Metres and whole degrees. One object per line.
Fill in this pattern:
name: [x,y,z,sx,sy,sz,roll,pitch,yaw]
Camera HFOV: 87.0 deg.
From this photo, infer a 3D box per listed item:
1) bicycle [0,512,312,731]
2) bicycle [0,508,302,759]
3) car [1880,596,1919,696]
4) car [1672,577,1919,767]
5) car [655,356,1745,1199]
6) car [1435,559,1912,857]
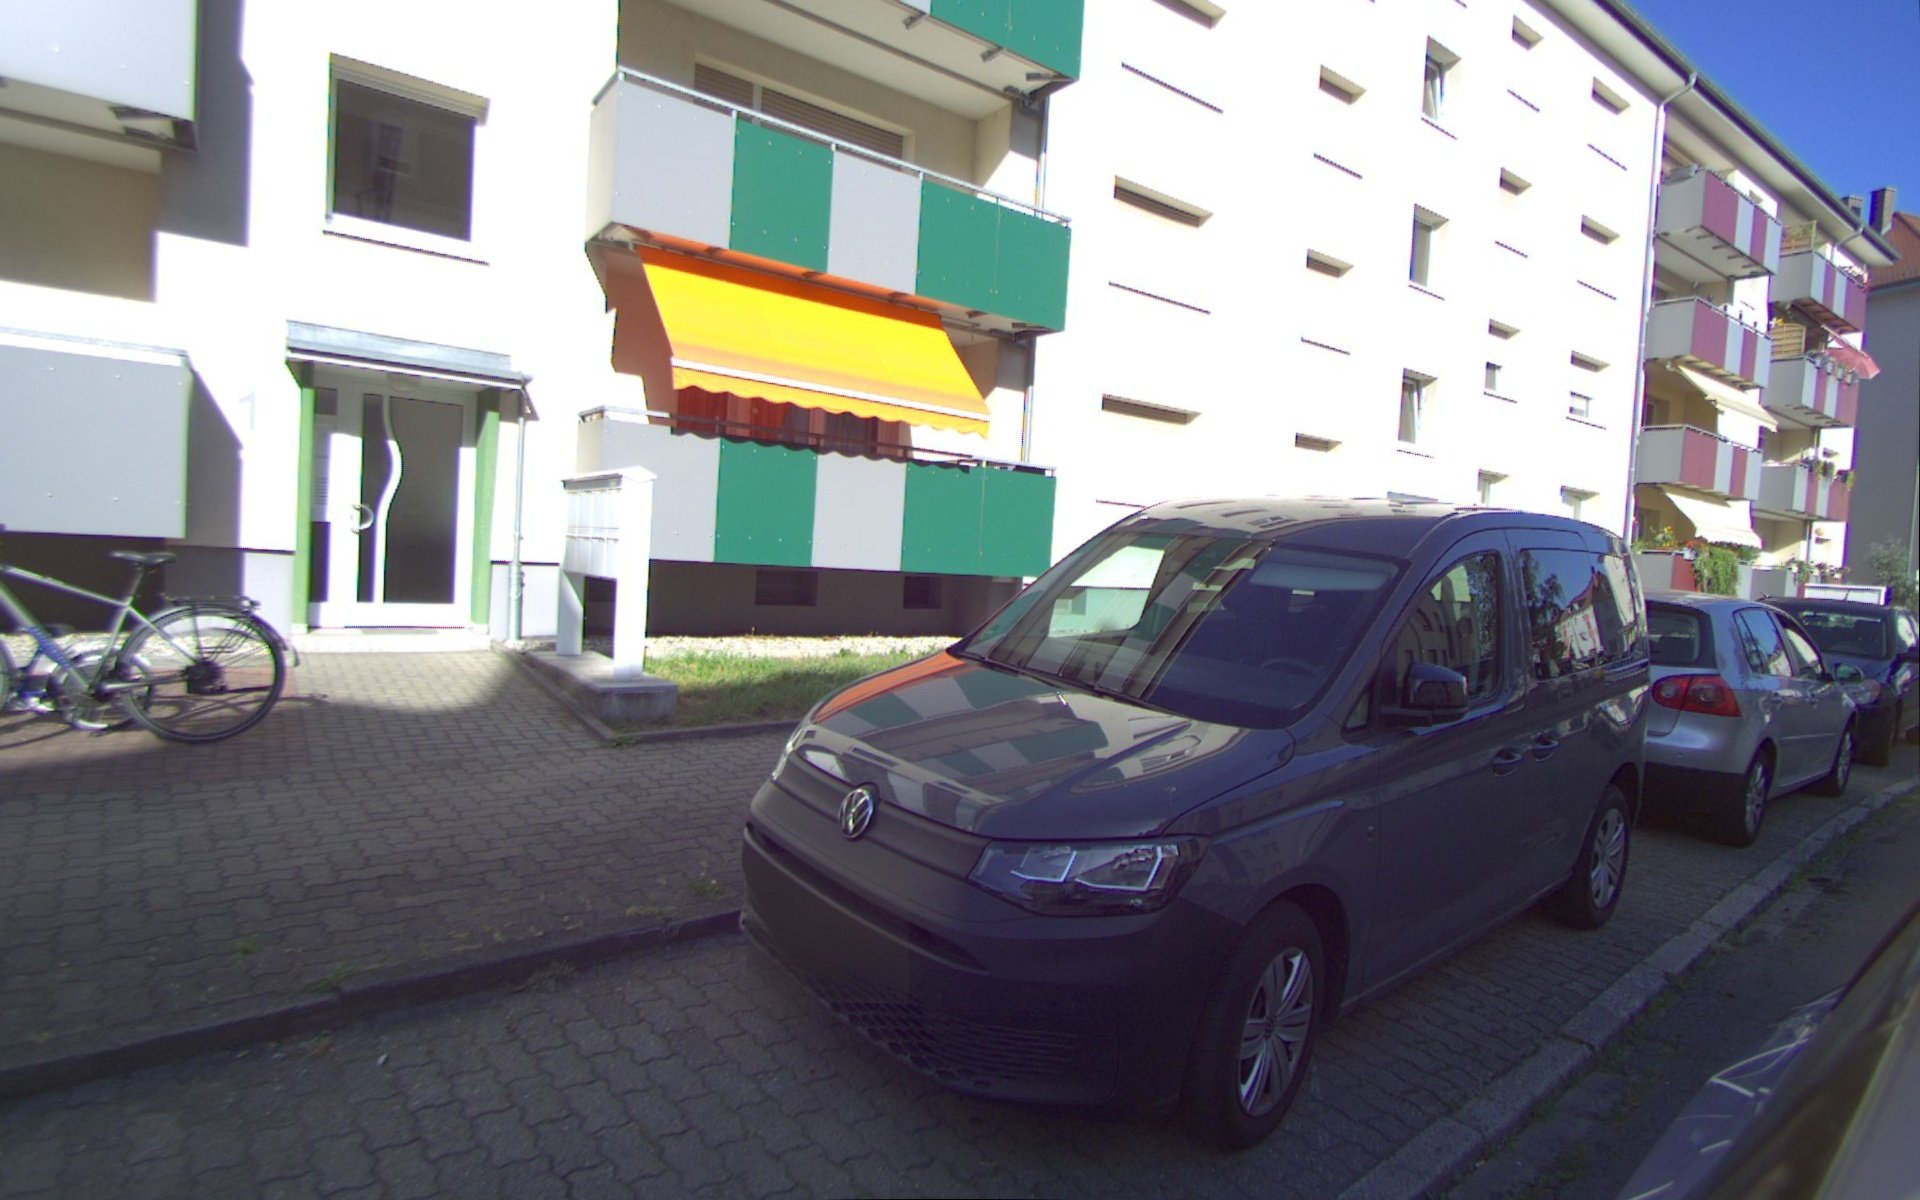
bicycle: [-4.549,0.093,5.210,2.034,1.057,0.507,0,2,-33]
bicycle: [-4.289,0.136,4.715,2.034,1.106,0.507,0,2,-33]
car: [16.045,0.768,15.688,3.785,1.436,1.681,1,5,-34]
car: [8.985,0.602,10.344,3.789,1.465,1.669,0,6,-38]
car: [1.447,0.382,4.172,4.833,1.861,1.764,0,6,-41]
car: [5.180,0.561,7.186,3.789,1.476,1.645,0,6,-38]
